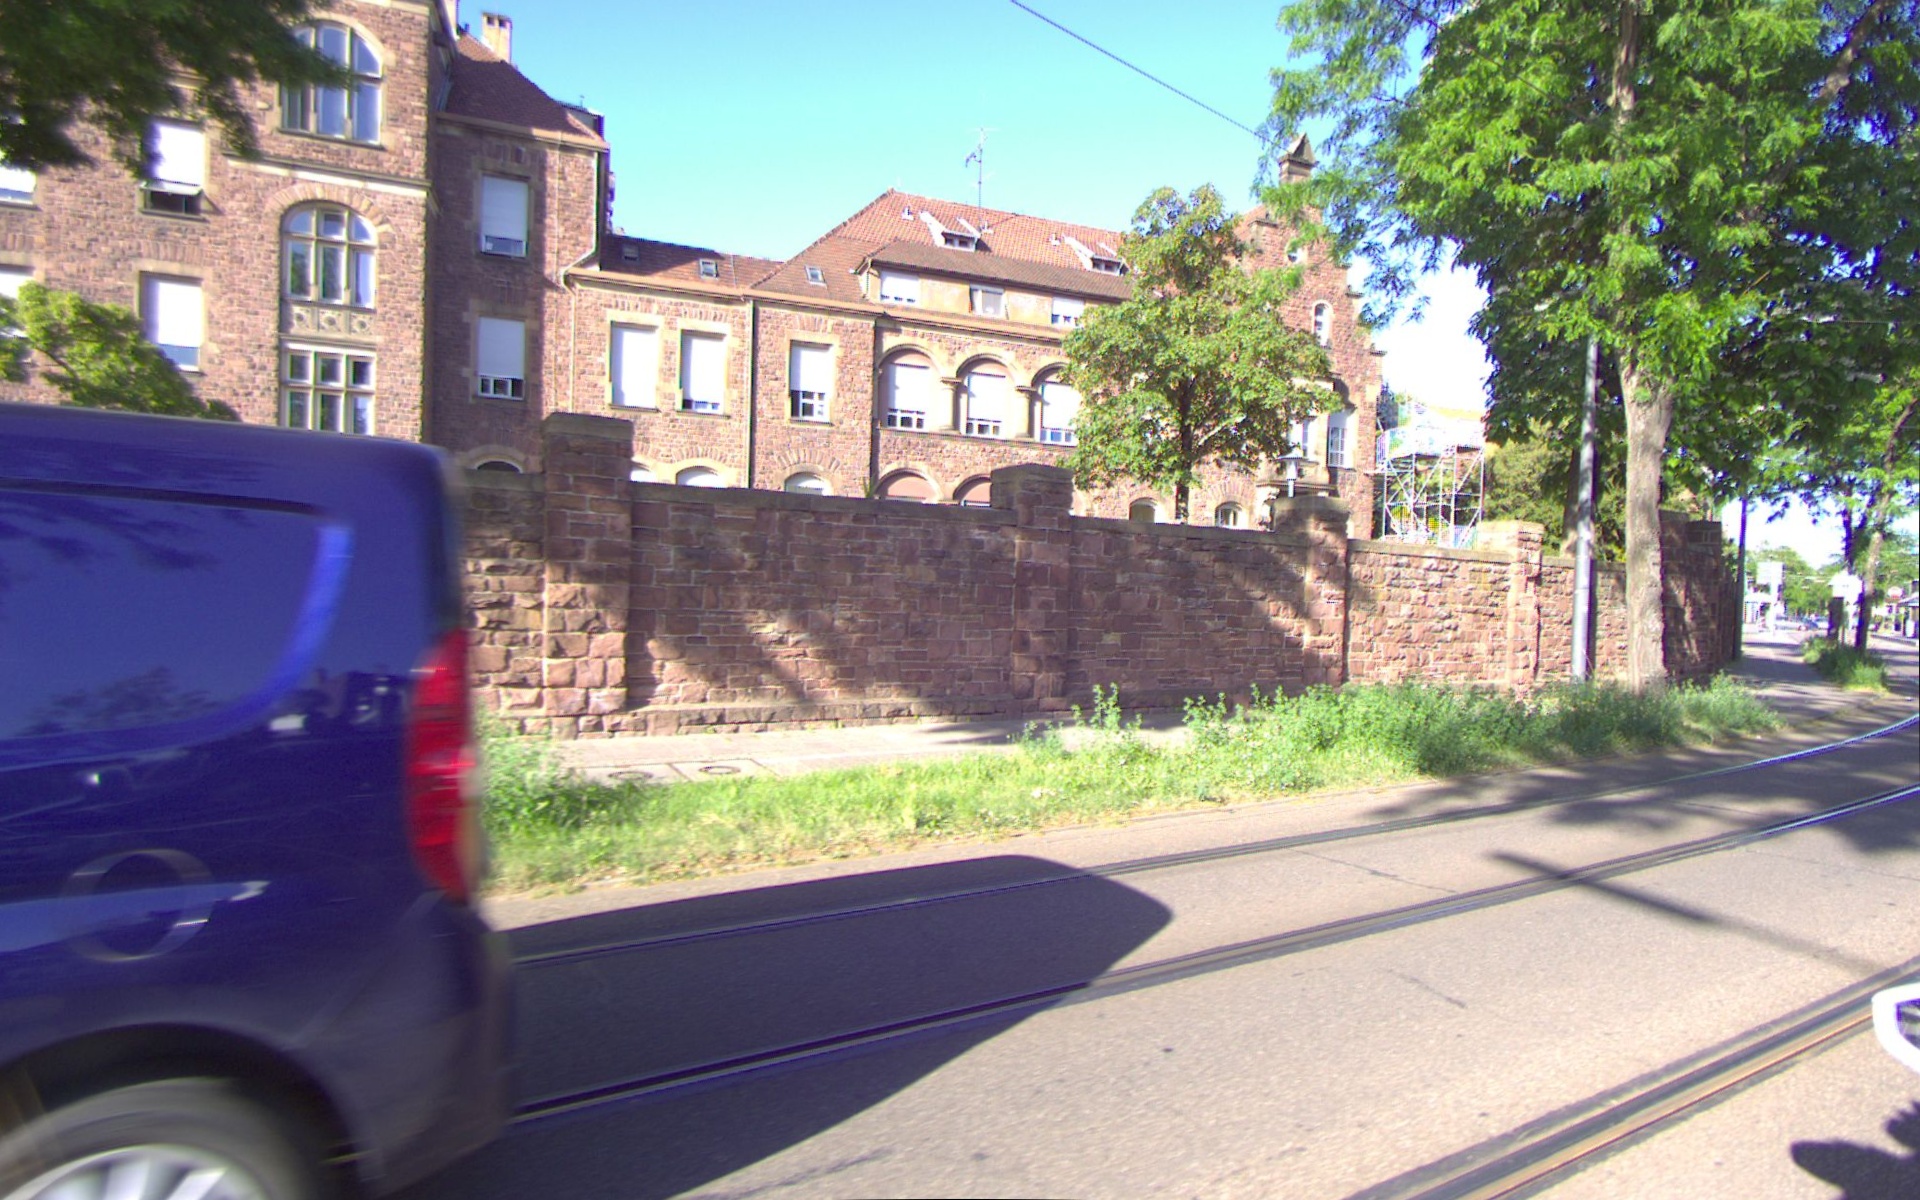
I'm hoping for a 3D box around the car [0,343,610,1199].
[{"bbox_3d":[-2.967,0.478,1.583,4.292,1.816,1.623,1,-1,-34],"label":"car"}]

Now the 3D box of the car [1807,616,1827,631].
[{"bbox_3d":[114.167,3.155,133.870,1.970,1.939,3.981,2,0,40],"label":"car"}]
